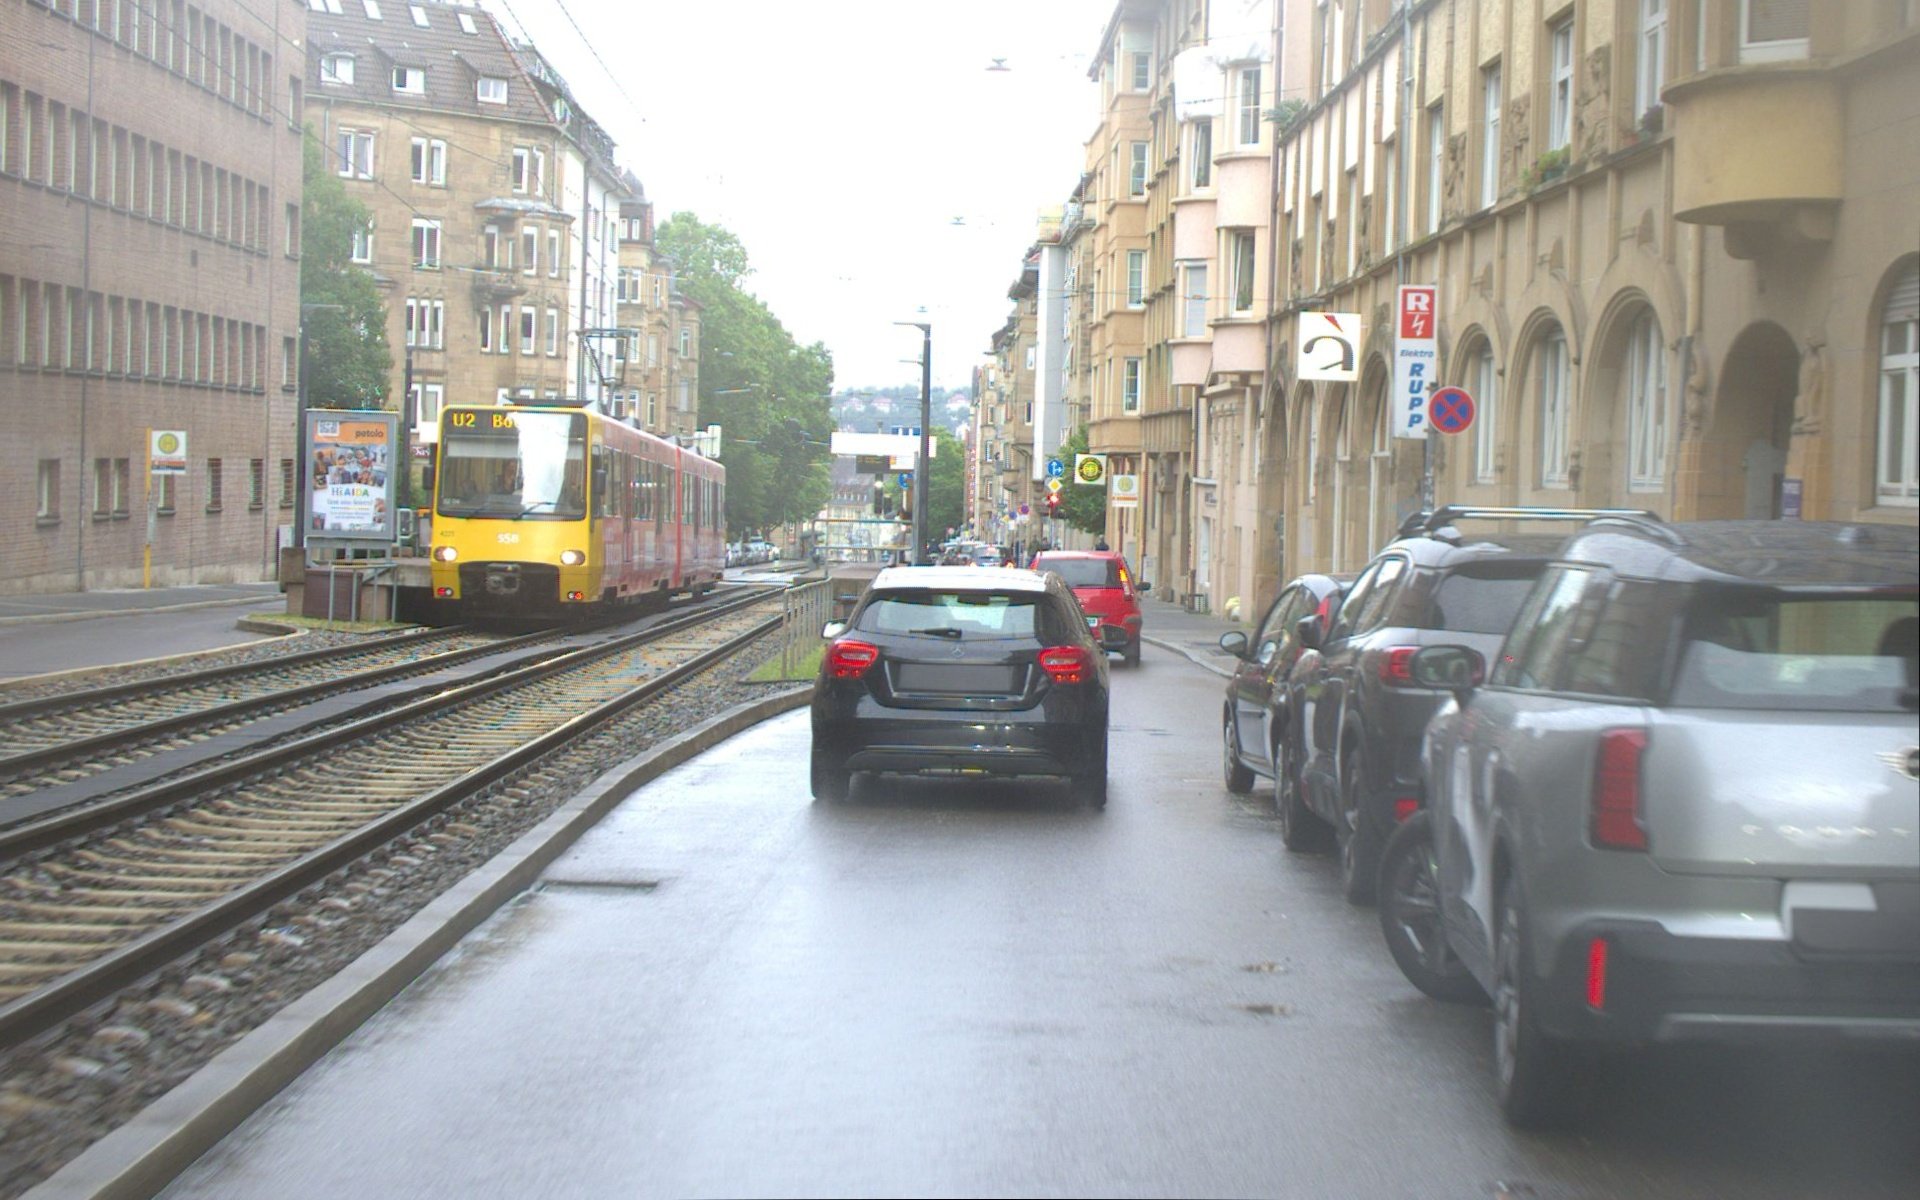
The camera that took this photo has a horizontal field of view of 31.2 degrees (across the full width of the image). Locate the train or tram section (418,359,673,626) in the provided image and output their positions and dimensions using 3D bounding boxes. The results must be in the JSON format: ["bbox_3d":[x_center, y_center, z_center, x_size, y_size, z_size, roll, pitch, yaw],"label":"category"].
[{"bbox_3d":[-7.067,-1.815,61.233,2.745,4.048,17.215,1,1,-1],"label":"train or tram section"}]

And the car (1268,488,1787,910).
[{"bbox_3d":[2.577,0.402,16.662,1.778,1.744,4.548,1,0,0],"label":"car"}]

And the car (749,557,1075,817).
[{"bbox_3d":[-0.281,0.473,21.582,1.834,1.448,3.902,1,1,0],"label":"car"}]

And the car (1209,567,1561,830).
[{"bbox_3d":[2.549,0.554,21.282,1.591,1.435,3.310,3,0,-2],"label":"car"}]

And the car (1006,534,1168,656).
[{"bbox_3d":[1.676,-0.094,46.763,1.993,1.520,4.245,2,1,0],"label":"car"}]

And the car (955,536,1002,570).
[{"bbox_3d":[0.845,-2.198,160.418,2.134,1.520,4.245,2,1,0],"label":"car"}]

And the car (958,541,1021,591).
[{"bbox_3d":[0.962,-1.085,109.516,1.887,1.520,4.245,2,1,2],"label":"car"}]

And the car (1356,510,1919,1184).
[{"bbox_3d":[2.355,0.587,10.605,1.841,1.602,4.760,1,0,2],"label":"car"}]

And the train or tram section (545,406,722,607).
[{"bbox_3d":[-7.164,-2.042,77.520,2.745,4.048,15.662,1,1,-1],"label":"train or tram section"}]
